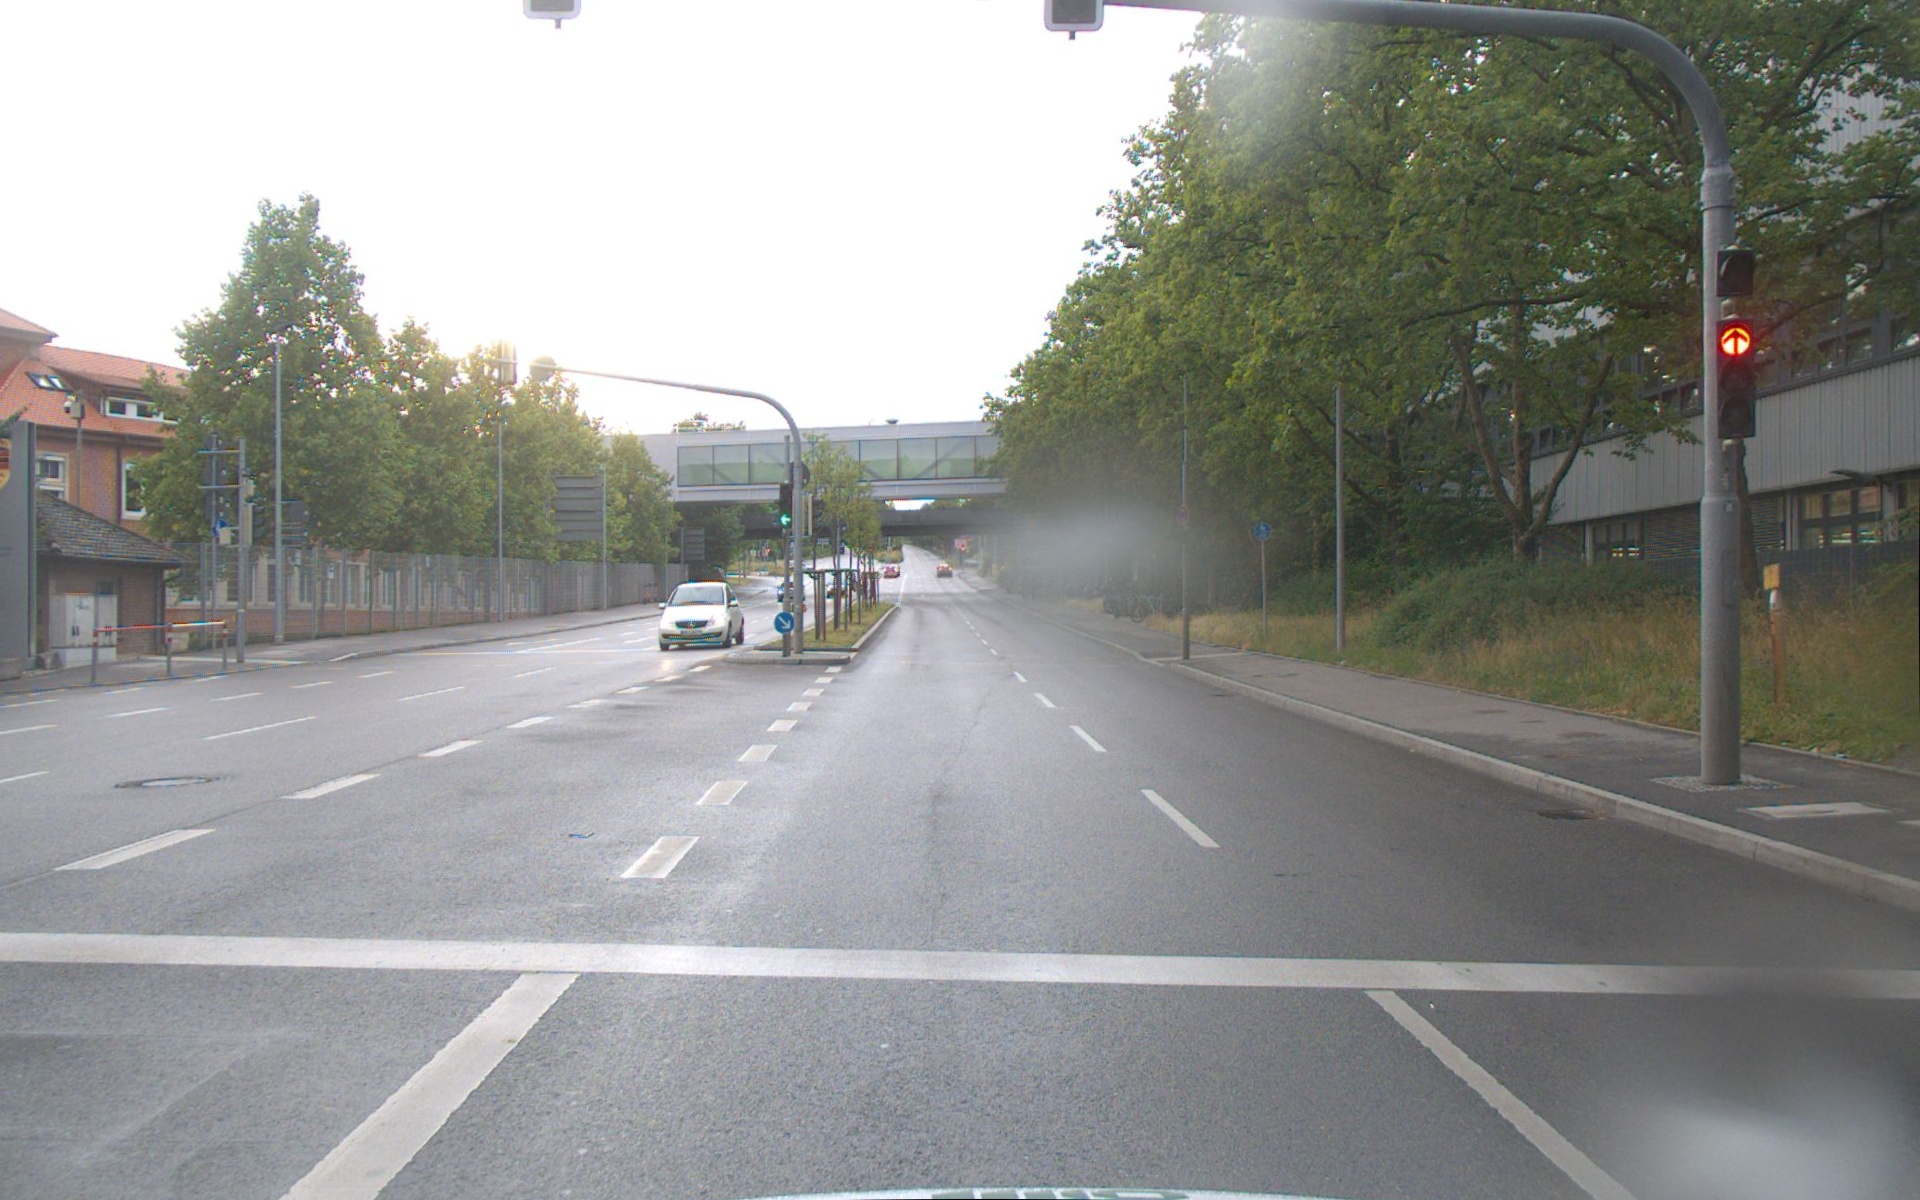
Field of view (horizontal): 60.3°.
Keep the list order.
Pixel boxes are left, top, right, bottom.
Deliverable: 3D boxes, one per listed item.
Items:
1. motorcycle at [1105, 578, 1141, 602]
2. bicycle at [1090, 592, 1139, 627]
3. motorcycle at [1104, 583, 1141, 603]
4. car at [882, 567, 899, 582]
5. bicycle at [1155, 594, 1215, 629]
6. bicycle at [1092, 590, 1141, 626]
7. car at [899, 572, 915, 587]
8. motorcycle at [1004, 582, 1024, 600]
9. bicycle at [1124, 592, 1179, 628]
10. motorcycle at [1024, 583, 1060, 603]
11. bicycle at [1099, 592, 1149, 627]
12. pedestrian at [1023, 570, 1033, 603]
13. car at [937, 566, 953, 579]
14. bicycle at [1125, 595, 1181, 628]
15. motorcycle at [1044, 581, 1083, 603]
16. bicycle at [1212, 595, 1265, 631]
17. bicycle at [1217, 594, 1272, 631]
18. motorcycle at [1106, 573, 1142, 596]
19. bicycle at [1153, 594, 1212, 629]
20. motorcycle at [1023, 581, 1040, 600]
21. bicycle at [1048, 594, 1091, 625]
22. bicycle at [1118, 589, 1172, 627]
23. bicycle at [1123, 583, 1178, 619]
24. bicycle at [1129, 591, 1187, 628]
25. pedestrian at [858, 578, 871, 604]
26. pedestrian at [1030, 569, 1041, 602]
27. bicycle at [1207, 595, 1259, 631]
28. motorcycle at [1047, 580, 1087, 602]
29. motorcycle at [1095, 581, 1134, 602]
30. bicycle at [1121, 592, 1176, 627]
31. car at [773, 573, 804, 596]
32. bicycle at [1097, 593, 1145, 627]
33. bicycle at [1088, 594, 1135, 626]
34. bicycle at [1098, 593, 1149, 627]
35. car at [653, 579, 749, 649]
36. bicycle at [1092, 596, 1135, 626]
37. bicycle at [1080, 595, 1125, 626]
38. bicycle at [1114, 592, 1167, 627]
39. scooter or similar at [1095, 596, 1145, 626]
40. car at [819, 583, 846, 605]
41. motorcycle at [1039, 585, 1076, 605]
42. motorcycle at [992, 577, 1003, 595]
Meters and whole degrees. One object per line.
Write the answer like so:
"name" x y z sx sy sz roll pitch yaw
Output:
"motorcycle" 10.848 -0.674 109.942 2.318 1.502 0.723 -1 0 7
"bicycle" 6.403 0.392 68.707 1.949 1.352 0.576 2 -1 0
"motorcycle" 10.228 -0.450 104.064 2.318 1.223 0.723 -1 0 7
"car" -8.807 -3.235 209.248 1.953 1.792 3.999 2 -1 -1
"bicycle" 7.706 0.394 56.700 1.949 1.114 0.541 2 -1 0
"bicycle" 6.650 0.358 70.388 1.949 1.455 0.723 2 -1 0
"car" -6.934 -2.711 216.383 1.846 1.792 3.968 2 -1 0
"motorcycle" 4.172 -0.699 128.300 0.778 1.334 2.364 -1 0 -18
"bicycle" 7.053 0.353 60.909 1.949 1.255 0.541 2 -1 0
"motorcycle" 5.394 -0.470 108.758 2.318 1.223 0.723 -1 0 7
"bicycle" 6.730 0.394 67.902 1.949 1.352 0.576 2 -1 0
"pedestrian" 4.307 -0.872 104.726 0.609 2.049 0.605 -1 0 -1
"car" -1.853 -3.398 205.759 1.837 1.523 4.067 2 -1 0
"bicycle" 7.042 0.412 60.326 1.949 1.114 0.541 2 -1 0
"motorcycle" 6.284 -0.485 100.134 2.318 1.223 0.723 -1 0 7
"bicycle" 10.929 0.505 64.920 1.949 1.352 0.576 2 -1 0
"bicycle" 10.787 0.472 62.730 1.949 1.352 0.576 2 -1 0
"motorcycle" 11.021 -1.013 111.167 2.318 1.502 0.723 -1 0 7
"bicycle" 7.700 0.401 57.268 1.949 1.114 0.541 2 -1 0
"motorcycle" 5.343 -0.698 123.221 0.775 1.334 2.371 -1 0 -9
"bicycle" 5.088 0.440 77.189 1.923 1.352 0.654 2 -1 0
"bicycle" 7.043 0.307 62.987 1.949 1.364 0.541 2 -1 0
"bicycle" 7.086 0.048 61.550 1.949 1.263 0.541 2 -1 0
"bicycle" 7.015 0.333 58.719 1.949 1.237 0.541 2 -1 0
"pedestrian" -7.530 -0.675 130.846 0.837 2.039 0.872 -1 0 -13
"pedestrian" 4.729 -0.888 104.075 0.609 2.049 0.605 -1 0 -1
"bicycle" 10.893 0.518 66.113 1.949 1.352 0.576 2 -1 0
"motorcycle" 6.349 -0.529 98.007 2.318 1.223 0.723 -1 0 7
"motorcycle" 9.515 -0.529 101.910 2.318 1.223 0.723 -1 0 7
"bicycle" 7.084 0.366 62.165 1.949 1.263 0.541 2 -1 0
"car" -12.277 -1.110 118.561 1.839 1.653 3.778 -1 0 -1
"bicycle" 6.933 0.431 71.245 1.949 1.352 0.576 2 -1 0
"bicycle" 6.603 0.440 71.951 1.949 1.352 0.576 2 -1 0
"bicycle" 6.517 0.394 65.994 1.949 1.263 0.541 2 -1 0
"car" -6.459 0.314 41.641 1.839 1.653 3.778 -1 0 -1
"bicycle" 7.262 0.530 78.235 1.923 1.352 0.654 2 -1 0
"bicycle" 6.497 0.468 75.479 1.923 1.352 0.654 2 -1 0
"bicycle" 6.939 0.380 63.677 1.949 1.263 0.541 2 -1 0
"scooter or similar" 6.453 0.439 66.776 1.949 1.157 0.541 2 -1 0
"car" -9.902 -0.489 128.409 1.839 1.653 3.778 -1 0 -1
"motorcycle" 6.150 -0.318 104.369 2.318 1.223 0.723 -1 0 7
"motorcycle" 3.354 -1.207 147.443 0.774 1.560 2.375 -1 0 -2
